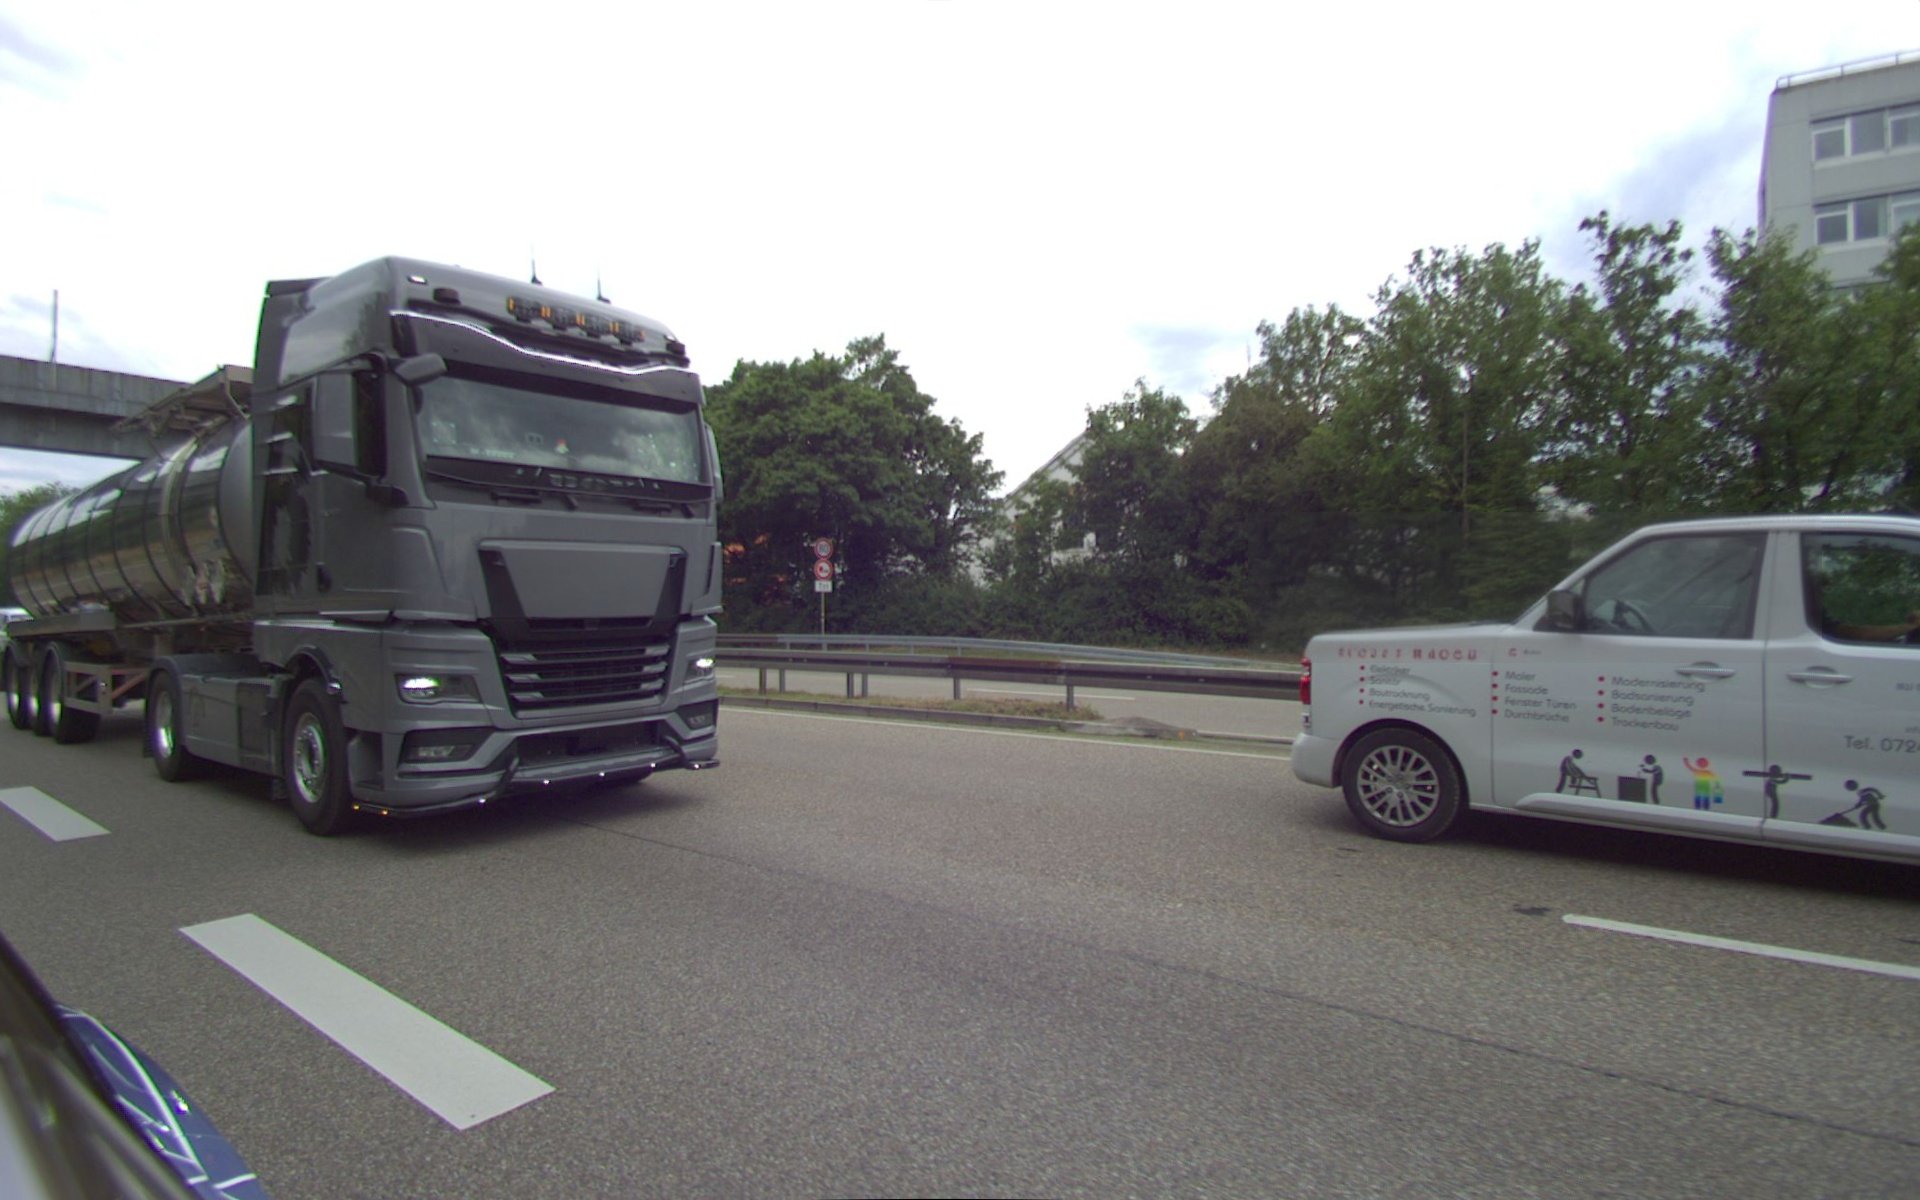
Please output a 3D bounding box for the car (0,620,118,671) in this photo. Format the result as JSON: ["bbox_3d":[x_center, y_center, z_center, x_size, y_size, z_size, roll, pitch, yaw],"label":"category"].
[{"bbox_3d":[-28.731,1.381,31.727,5.240,1.475,2.042,-1,-1,32],"label":"car"}]

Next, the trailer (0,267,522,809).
[{"bbox_3d":[-9.186,-0.350,11.816,10.973,3.937,2.657,-1,-2,39],"label":"trailer"}]

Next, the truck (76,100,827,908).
[{"bbox_3d":[-4.456,-0.409,8.105,6.925,3.937,2.657,-1,-2,38],"label":"truck"}]

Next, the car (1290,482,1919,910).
[{"bbox_3d":[4.525,0.445,5.502,4.874,1.906,1.832,-1,-2,40],"label":"car"}]

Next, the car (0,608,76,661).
[{"bbox_3d":[-34.675,1.264,37.464,4.996,1.864,1.830,-1,-2,36],"label":"car"}]
